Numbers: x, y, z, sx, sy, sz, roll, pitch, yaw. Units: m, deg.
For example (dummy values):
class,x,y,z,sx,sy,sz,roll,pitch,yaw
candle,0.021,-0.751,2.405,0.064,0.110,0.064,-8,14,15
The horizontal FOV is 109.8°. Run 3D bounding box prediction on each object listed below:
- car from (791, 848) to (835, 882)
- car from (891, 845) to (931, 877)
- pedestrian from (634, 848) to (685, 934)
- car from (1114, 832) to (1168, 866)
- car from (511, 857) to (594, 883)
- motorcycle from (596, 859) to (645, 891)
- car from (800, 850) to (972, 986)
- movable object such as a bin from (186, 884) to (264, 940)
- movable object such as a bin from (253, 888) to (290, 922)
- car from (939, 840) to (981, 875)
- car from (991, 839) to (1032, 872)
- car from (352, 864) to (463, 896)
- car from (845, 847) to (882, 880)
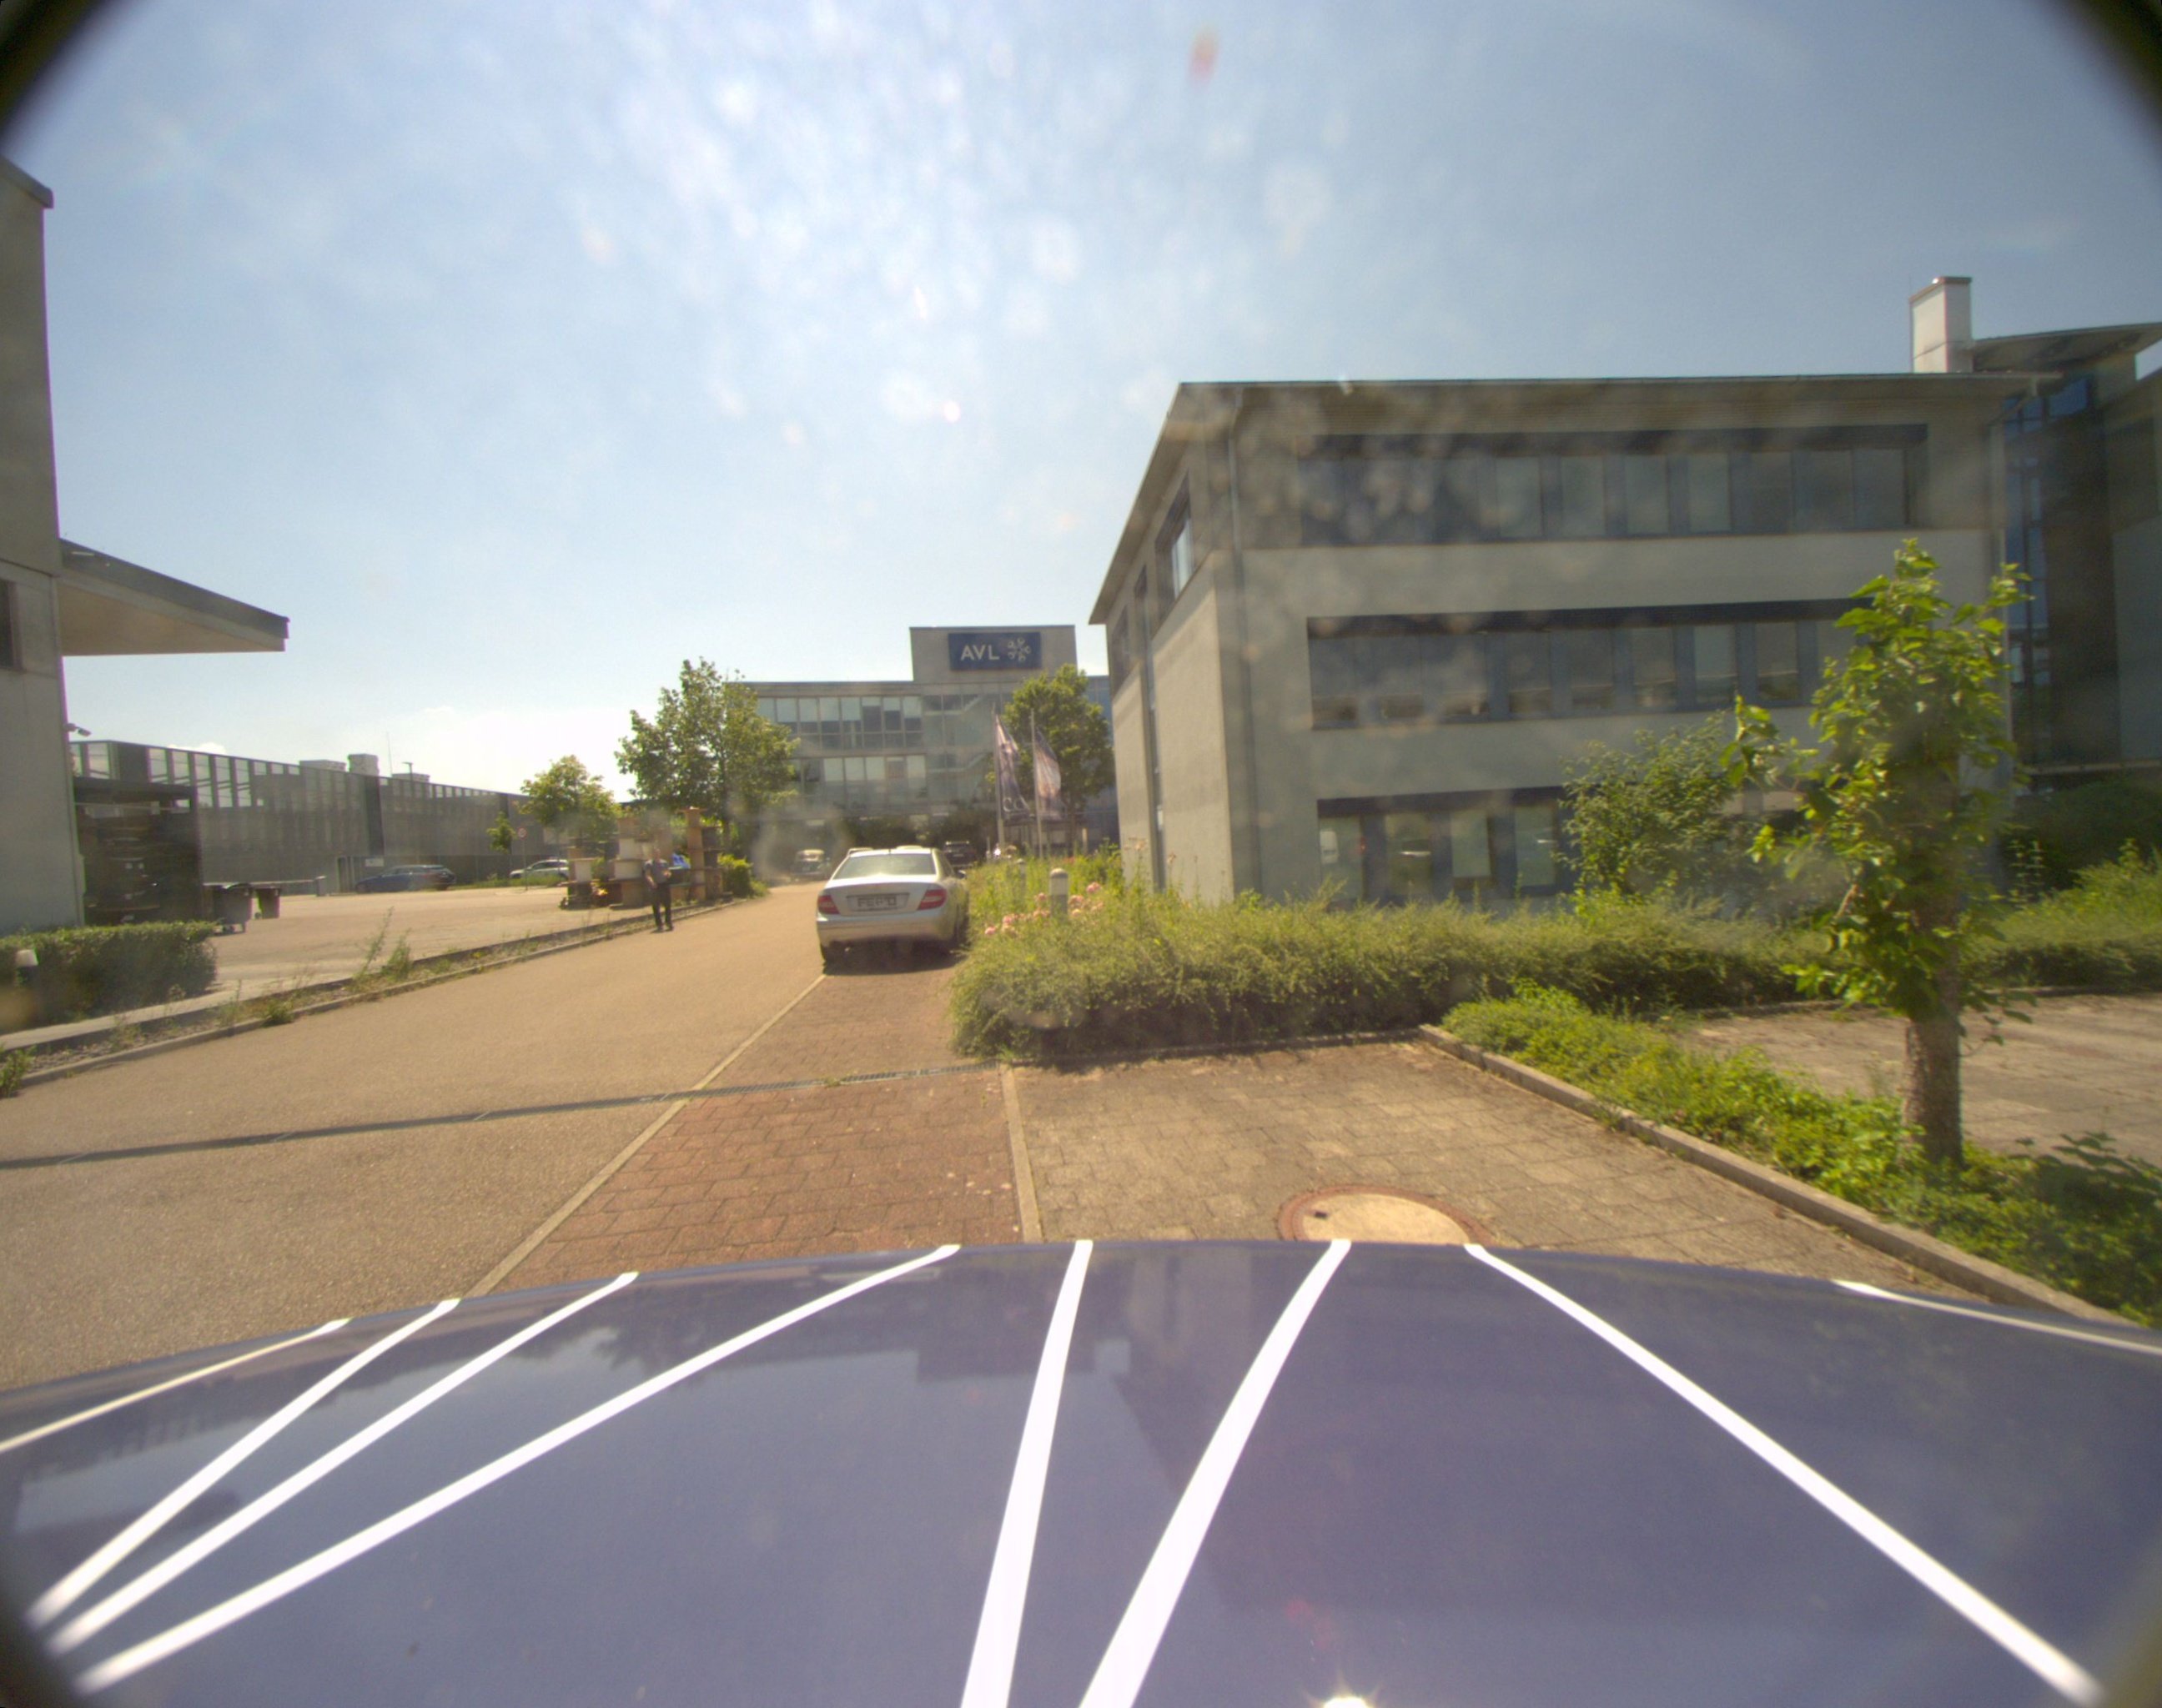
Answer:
class,x,y,z,sx,sy,sz,roll,pitch,yaw
car,-12.836,0.499,36.539,1.523,1.438,3.414,-2,2,-12
car,-8.551,0.308,38.061,1.733,1.444,3.594,-2,2,-16
pedestrian,-9.056,0.766,16.325,0.810,1.759,0.767,-5,4,-31
car,3.068,-0.279,39.775,1.833,1.628,4.167,-3,2,-9
car,-35.500,1.042,51.069,4.409,1.467,1.781,-2,2,7
motorcycle,-20.866,0.932,34.491,0.874,1.252,2.832,-3,2,-10
car,-2.577,0.737,11.007,1.734,1.448,4.144,-2,2,-6
movable object such as a bin,-20.826,1.402,18.501,0.876,1.243,0.801,-2,3,0
movable object such as a bin,-23.682,1.489,22.241,0.586,0.912,0.546,-4,3,-33
car,-6.120,0.114,38.212,1.940,1.594,3.855,-2,2,-10
car,-3.589,0.029,38.641,1.731,1.476,4.392,-3,2,-9
car,-36.493,1.397,41.231,4.441,1.402,1.859,-3,2,4
car,-10.606,0.422,37.090,1.644,1.444,3.594,-2,2,-16
